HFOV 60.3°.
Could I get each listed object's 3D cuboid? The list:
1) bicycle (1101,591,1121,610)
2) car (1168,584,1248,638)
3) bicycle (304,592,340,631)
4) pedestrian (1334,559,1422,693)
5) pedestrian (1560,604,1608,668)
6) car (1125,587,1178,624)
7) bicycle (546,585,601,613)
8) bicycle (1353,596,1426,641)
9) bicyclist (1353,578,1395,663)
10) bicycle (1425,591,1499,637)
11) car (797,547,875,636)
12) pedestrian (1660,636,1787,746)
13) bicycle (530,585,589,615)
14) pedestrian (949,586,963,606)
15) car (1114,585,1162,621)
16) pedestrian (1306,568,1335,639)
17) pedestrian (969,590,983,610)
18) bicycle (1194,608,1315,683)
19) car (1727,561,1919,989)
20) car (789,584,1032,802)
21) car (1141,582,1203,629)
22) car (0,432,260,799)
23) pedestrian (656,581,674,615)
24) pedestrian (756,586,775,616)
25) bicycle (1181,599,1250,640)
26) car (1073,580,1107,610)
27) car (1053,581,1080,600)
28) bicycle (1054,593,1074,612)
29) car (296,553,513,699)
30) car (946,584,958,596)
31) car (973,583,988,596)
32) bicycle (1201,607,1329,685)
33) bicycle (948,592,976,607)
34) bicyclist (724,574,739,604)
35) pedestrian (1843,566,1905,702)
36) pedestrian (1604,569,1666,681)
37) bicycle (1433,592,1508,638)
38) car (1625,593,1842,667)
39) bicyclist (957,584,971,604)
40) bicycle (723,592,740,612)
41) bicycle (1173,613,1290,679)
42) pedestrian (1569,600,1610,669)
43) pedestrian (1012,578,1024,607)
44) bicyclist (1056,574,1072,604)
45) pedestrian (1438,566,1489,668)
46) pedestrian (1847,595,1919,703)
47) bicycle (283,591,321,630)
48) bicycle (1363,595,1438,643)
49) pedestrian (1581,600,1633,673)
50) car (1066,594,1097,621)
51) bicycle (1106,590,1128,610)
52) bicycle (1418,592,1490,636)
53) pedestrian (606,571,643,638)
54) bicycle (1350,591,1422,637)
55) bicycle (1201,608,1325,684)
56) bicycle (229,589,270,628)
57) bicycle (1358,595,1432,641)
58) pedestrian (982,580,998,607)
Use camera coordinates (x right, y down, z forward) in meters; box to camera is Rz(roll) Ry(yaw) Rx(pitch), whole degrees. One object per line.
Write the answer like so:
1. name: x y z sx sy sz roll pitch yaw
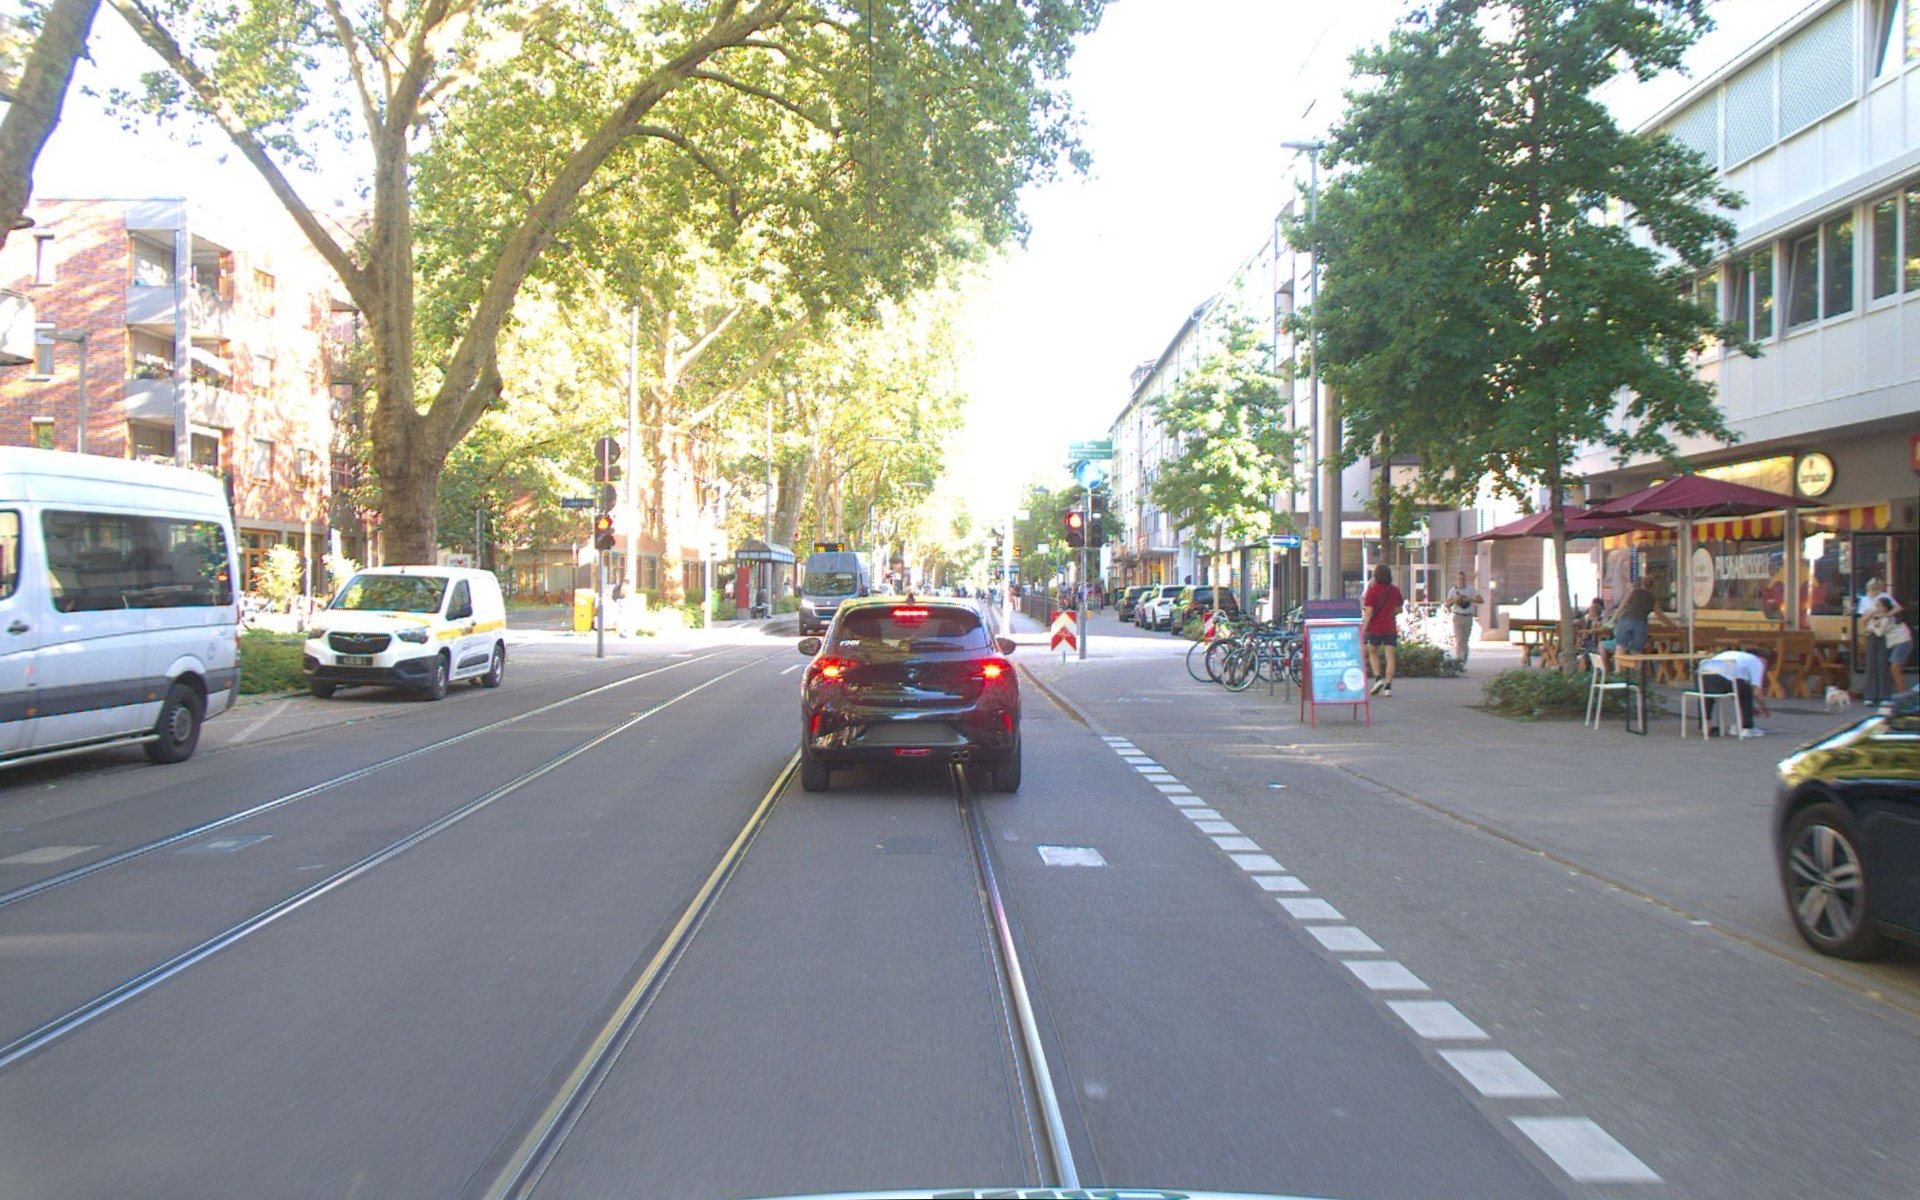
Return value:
1. bicycle: 9.157 0.010 100.452 0.591 1.156 2.429 1 0 -10
2. car: 8.111 0.340 54.432 1.952 1.644 4.445 -2 0 1
3. bicycle: -19.374 0.336 50.260 0.530 1.103 1.537 1 3 -1
4. pedestrian: 5.736 0.345 22.661 0.860 1.789 1.045 1 0 33
5. pedestrian: 10.904 0.632 28.911 0.629 1.097 0.522 1 0 -2
6. car: 7.828 0.214 67.794 1.708 1.465 4.247 1 0 1
7. bicycle: -17.346 -0.025 74.290 2.292 1.186 0.682 2 0 1
8. bicycle: 11.837 0.500 45.615 1.876 1.228 0.511 0 1 -3
9. bicyclist: 8.687 0.427 34.734 0.663 1.747 0.965 1 0 3
10. bicycle: 13.916 0.389 45.847 1.876 1.229 0.511 1 0 -3
11. car: -4.096 -0.274 55.727 2.070 2.786 6.115 -1 0 1
12. pedestrian: 7.629 0.897 16.540 0.984 1.045 0.657 1 0 -21
13. bicycle: -17.770 0.003 73.450 2.407 1.240 0.682 2 0 1
14. pedestrian: -0.379 -0.338 145.008 1.141 1.779 0.957 1 0 -5
15. car: 8.328 0.137 77.644 1.819 1.644 4.398 1 0 1
16. pedestrian: 8.229 0.082 37.760 0.539 1.589 0.645 1 -1 5
17. pedestrian: 1.373 -0.020 145.226 1.141 1.779 0.957 1 0 -5
18. bicycle: 4.552 0.697 25.582 1.781 1.119 0.497 1 0 -8
19. car: 4.491 0.635 5.587 1.723 1.615 4.329 -3 0 0
20. car: -0.392 0.660 13.633 1.724 1.534 3.682 0 0 -1
21. car: 7.854 0.193 61.532 1.762 1.634 4.415 1 0 1
22. car: -7.871 0.099 12.919 2.064 2.622 6.025 1 0 2
23. pedestrian: -15.002 -0.120 84.186 0.720 1.701 0.861 1 0 1
24. pedestrian: -7.724 0.049 65.690 0.691 1.189 0.659 -1 0 -3
25. bicycle: 7.876 0.590 51.090 2.081 1.208 0.681 1 0 9
26. car: 8.810 -0.313 112.064 1.953 1.986 4.000 1 0 0
27. car: 8.409 -0.739 130.978 1.952 1.512 4.000 1 0 1
28. bicycle: 6.400 0.162 101.915 0.844 1.156 2.393 1 0 -5
29. car: -7.862 0.343 23.849 1.727 1.883 4.317 1 0 -1
30. car: -1.103 -1.414 228.452 1.710 1.571 3.999 1 0 -1
31. car: 2.657 -1.349 213.844 1.710 1.571 3.999 1 0 -1
32. bicycle: 4.446 0.664 24.182 1.778 1.119 0.525 0 0 -1
33. bicycle: 0.205 -0.066 147.632 2.432 1.262 0.957 1 0 -5
34. bicyclist: -13.618 -0.643 98.678 0.759 1.780 0.997 1 0 -2
35. pedestrian: 11.292 0.416 20.436 0.502 1.657 0.511 1 0 -37
36. pedestrian: 10.348 0.376 25.336 0.666 1.688 0.810 1 0 39
37. bicycle: 13.950 0.401 45.234 1.876 1.228 0.511 0 1 -3
38. car: 17.873 0.704 38.333 4.166 1.620 1.965 1 -1 -6
39. bicyclist: 0.388 -0.523 147.648 1.141 1.779 0.957 1 0 -5
40. bicycle: -13.644 0.111 98.793 0.766 1.130 2.595 1 0 -2
41. bicycle: 4.339 0.732 26.493 1.779 1.011 0.481 1 0 -2
42. pedestrian: 12.109 0.661 31.845 0.524 1.310 0.716 1 0 2
43. pedestrian: 3.222 -0.413 91.684 0.618 1.603 0.871 2 0 1
44. bicyclist: 6.415 -0.683 101.918 0.844 1.790 1.052 1 0 -6
45. pedestrian: 9.079 0.302 29.849 0.578 1.815 0.995 1 0 -1
46. pedestrian: 11.360 0.591 20.349 0.503 1.298 0.618 1 0 -37
47. bicycle: -19.989 0.315 50.256 0.530 1.103 1.639 1 2 -1
48. bicycle: 11.859 0.508 44.526 1.876 1.228 0.511 -1 1 -3
49. pedestrian: 10.871 0.608 27.794 0.645 1.195 0.522 1 0 -2
50. car: 8.690 0.535 118.495 1.953 1.829 4.000 1 0 0
51. bicycle: 9.260 -0.017 97.714 0.610 1.156 2.433 1 0 -10
52. bicycle: 13.889 0.394 46.510 1.876 1.229 0.511 1 -1 -3
53. pedestrian: -9.682 0.129 47.736 0.905 1.867 0.920 1 2 -3
54. bicycle: 11.886 0.387 46.170 1.876 1.229 0.511 -1 1 -3
55. bicycle: 4.577 0.694 25.027 1.781 1.119 0.480 1 0 -8
56. bicycle: -21.645 0.258 50.412 0.530 1.103 1.639 1 2 -1
57. bicycle: 11.854 0.482 45.081 1.876 1.228 0.511 -1 1 -3
58. pedestrian: 2.015 -0.437 110.675 0.737 1.739 0.760 1 0 35
